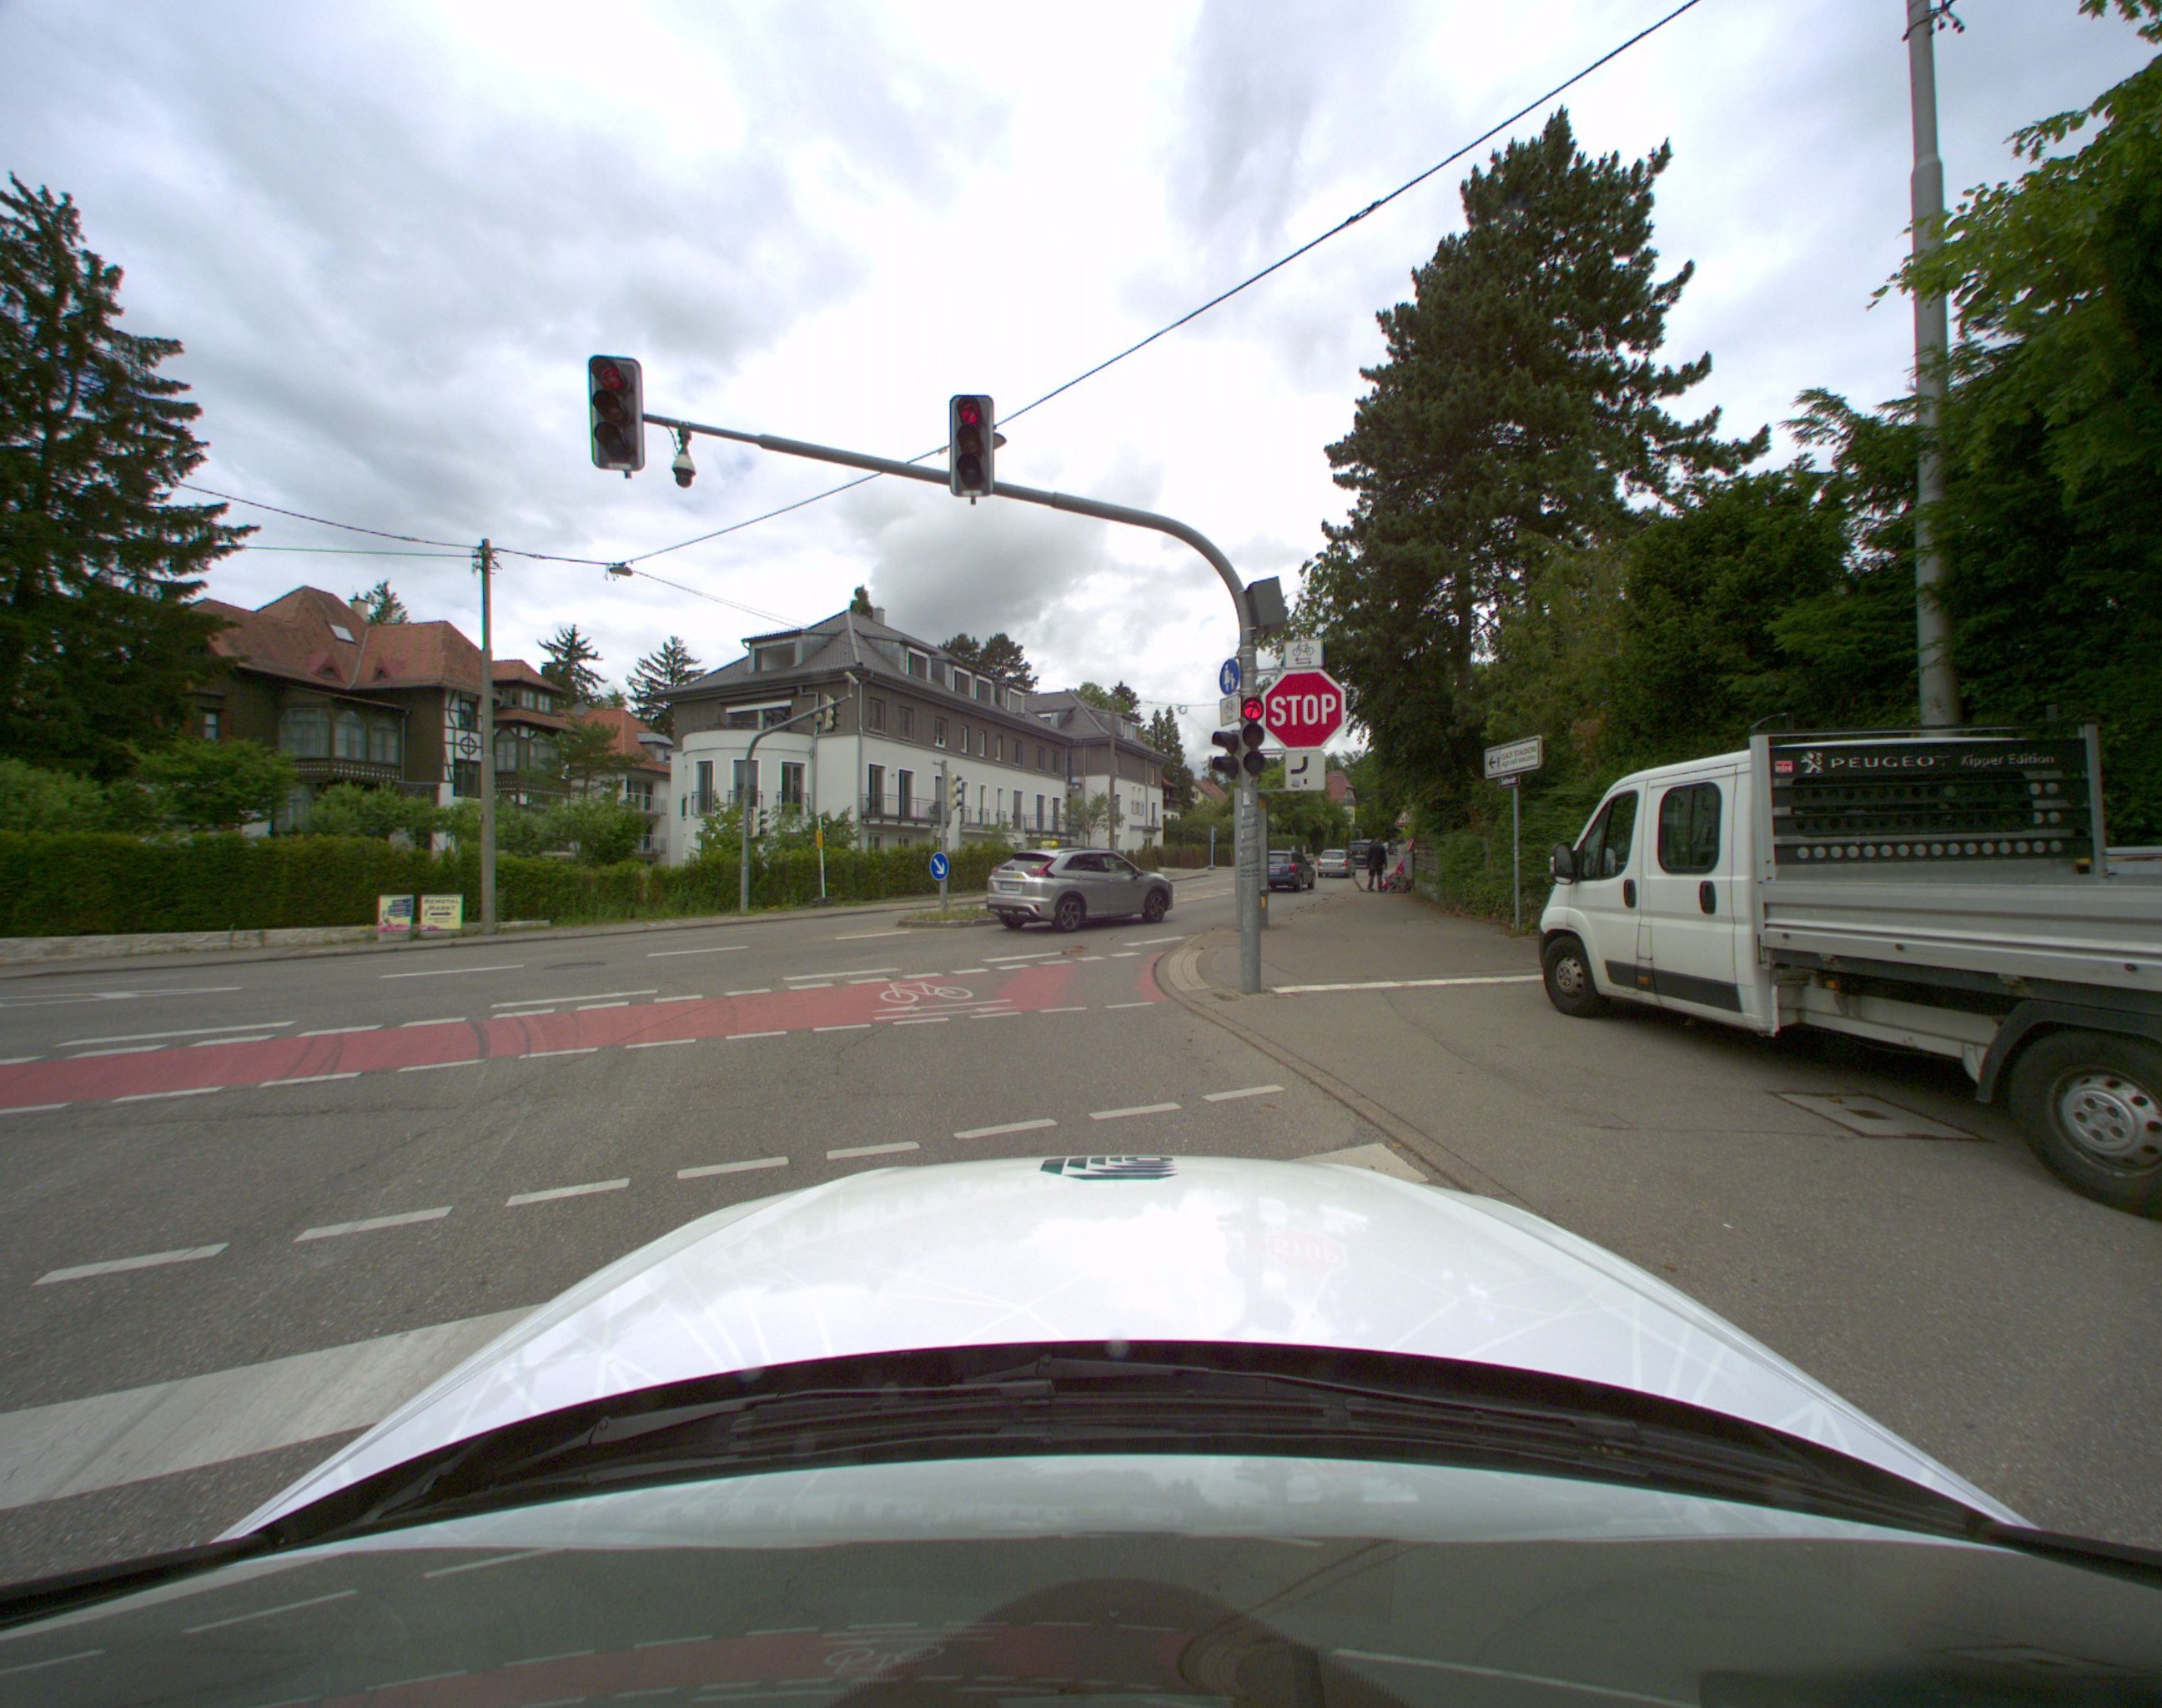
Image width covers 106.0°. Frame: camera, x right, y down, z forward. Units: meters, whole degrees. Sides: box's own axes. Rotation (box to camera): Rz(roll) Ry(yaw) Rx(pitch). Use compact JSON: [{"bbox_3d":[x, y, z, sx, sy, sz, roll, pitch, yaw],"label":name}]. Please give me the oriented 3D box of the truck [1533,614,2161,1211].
[{"bbox_3d":[5.288,0.220,4.946,2.198,2.244,5.729,-1,0,4],"label":"truck"}]
